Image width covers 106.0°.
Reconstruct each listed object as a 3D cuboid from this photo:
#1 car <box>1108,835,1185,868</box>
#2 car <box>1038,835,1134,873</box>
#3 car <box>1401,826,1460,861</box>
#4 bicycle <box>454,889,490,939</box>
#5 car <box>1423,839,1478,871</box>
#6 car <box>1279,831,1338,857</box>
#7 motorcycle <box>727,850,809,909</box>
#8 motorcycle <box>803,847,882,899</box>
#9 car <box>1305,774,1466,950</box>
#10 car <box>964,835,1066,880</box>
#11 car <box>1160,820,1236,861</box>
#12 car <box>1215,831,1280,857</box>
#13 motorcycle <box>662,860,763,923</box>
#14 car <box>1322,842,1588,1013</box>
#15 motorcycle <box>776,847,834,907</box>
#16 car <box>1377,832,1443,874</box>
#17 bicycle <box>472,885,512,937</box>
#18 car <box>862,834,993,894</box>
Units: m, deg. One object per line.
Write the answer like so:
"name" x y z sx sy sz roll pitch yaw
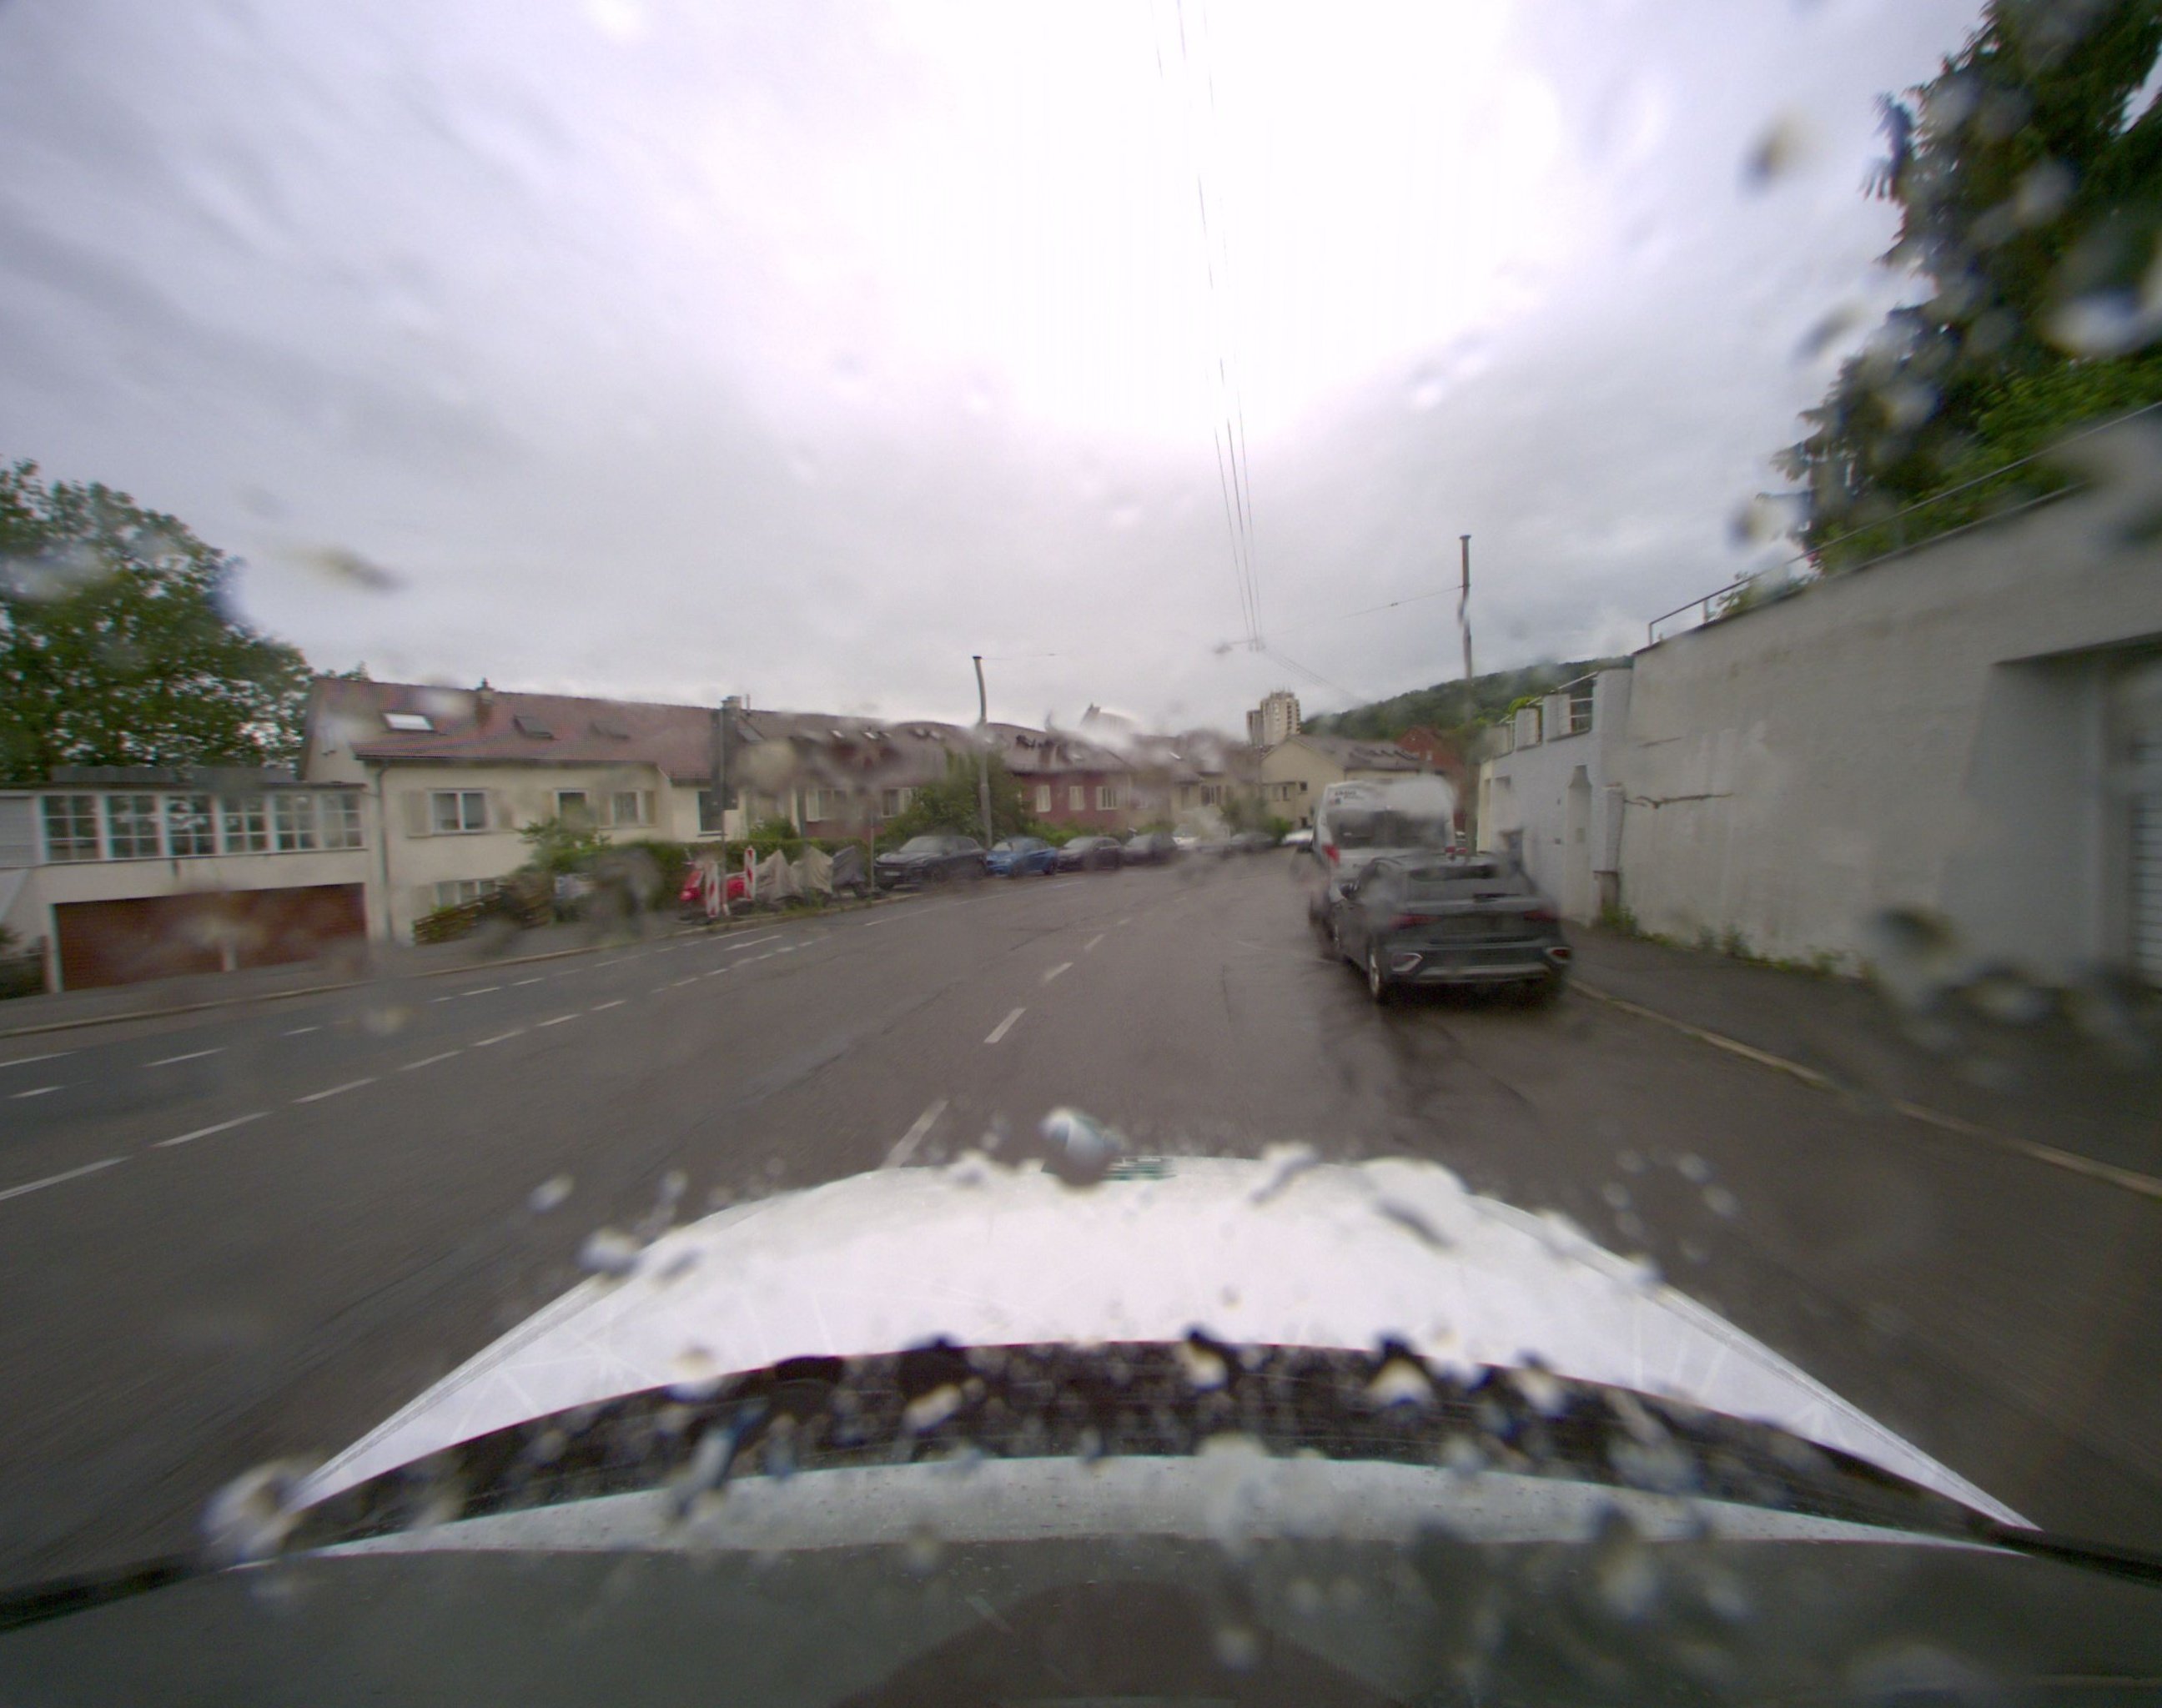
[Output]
"car" 3.215 -0.174 39.175 1.791 1.476 4.551 1 2 32
"car" 0.276 -0.068 34.361 1.791 1.476 4.551 1 2 34
"car" 21.182 -0.678 49.252 2.286 1.939 4.353 -1 2 37
"bicycle" -13.668 1.354 18.267 1.311 1.035 0.307 -7 -5 38
"car" 19.230 0.009 42.291 1.625 1.436 4.200 1 3 38
"car" 15.404 -0.702 54.952 1.911 1.631 4.706 2 2 42
"motorcycle" -7.052 0.558 18.340 1.787 1.279 0.513 0 1 19
"motorcycle" -6.066 0.469 20.785 1.902 1.271 0.573 0 2 -13
"car" 5.267 0.129 14.878 2.083 2.542 5.642 -2 0 14
"car" -2.294 0.056 29.522 1.684 1.404 4.499 1 3 25
"car" 6.400 -0.753 44.095 1.830 2.078 5.053 1 2 38
"car" 10.016 -0.619 48.827 1.791 1.476 4.550 1 2 41
"motorcycle" -7.509 0.738 16.700 0.505 1.140 1.934 -3 1 26
"car" 3.952 0.651 9.385 1.743 1.495 4.196 -2 0 10
"motorcycle" -6.542 0.521 19.277 0.617 1.303 1.786 -1 3 -43
"car" 13.825 -0.093 34.118 1.786 1.649 4.237 0 2 33
"bicycle" -12.589 1.222 17.392 1.287 1.035 0.307 -6 -5 36
"car" -4.526 0.217 24.727 1.905 1.576 4.411 1 2 20
